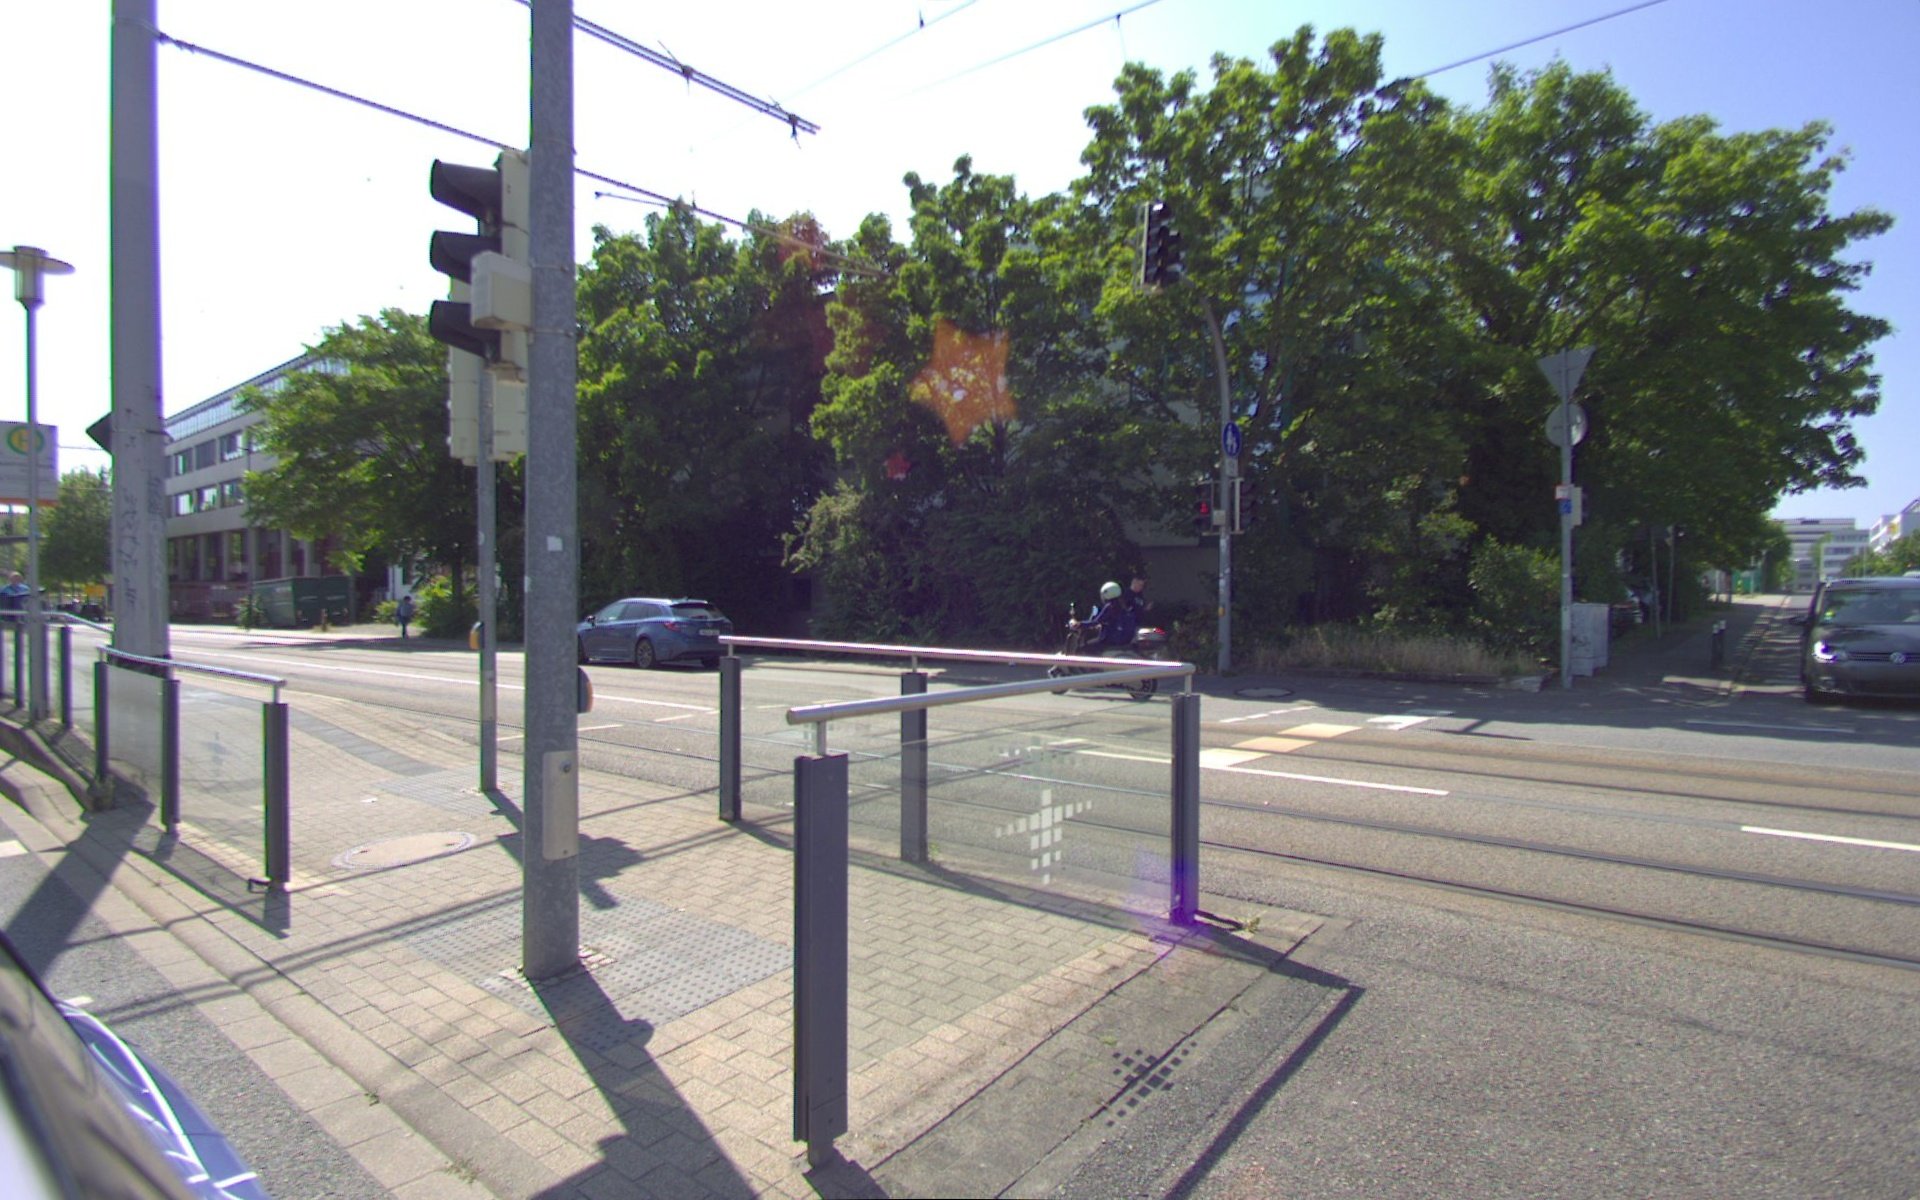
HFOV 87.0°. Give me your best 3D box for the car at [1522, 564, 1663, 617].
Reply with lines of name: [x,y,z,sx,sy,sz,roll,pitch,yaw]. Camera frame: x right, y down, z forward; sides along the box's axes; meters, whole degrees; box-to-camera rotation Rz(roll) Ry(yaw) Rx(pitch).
car: [20.903,-0.280,33.512,3.858,1.650,1.607,-1,0,35]

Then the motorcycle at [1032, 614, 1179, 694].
motorcycle: [2.017,0.720,14.277,0.813,1.019,1.965,-1,0,-44]

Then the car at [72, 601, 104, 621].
car: [-76.102,0.967,88.297,1.970,1.635,4.004,1,-1,-43]

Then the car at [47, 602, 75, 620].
car: [-82.277,0.978,92.617,1.844,1.630,4.004,1,-1,-43]

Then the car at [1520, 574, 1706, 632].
car: [17.267,0.097,26.950,3.833,1.478,1.617,-1,0,17]

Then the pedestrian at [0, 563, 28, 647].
pedestrian: [-20.312,0.110,21.428,0.944,1.737,0.716,-1,0,40]

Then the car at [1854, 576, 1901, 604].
car: [55.943,-0.597,61.758,1.804,1.613,3.949,0,0,38]

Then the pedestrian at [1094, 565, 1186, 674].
pedestrian: [2.945,0.295,16.563,1.159,1.682,0.877,0,3,40]

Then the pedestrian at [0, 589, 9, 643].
pedestrian: [-20.007,0.337,20.526,0.725,1.107,0.933,-1,0,39]

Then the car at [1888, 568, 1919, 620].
car: [30.782,-0.202,31.717,1.801,1.548,4.115,-1,0,33]

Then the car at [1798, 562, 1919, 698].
car: [12.558,0.299,13.607,1.931,1.595,4.137,-1,1,39]

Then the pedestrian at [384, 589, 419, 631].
pedestrian: [-20.599,0.370,37.309,0.845,1.538,0.862,0,0,39]

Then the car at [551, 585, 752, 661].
car: [-6.618,0.481,21.484,4.592,1.453,1.887,-1,-2,40]

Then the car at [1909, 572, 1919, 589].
car: [78.527,-1.591,81.192,3.430,1.437,1.333,0,1,41]

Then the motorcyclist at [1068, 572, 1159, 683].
motorcyclist: [2.145,0.365,14.156,0.826,1.486,0.963,0,0,-45]

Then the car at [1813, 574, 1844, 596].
car: [82.559,-1.453,96.168,3.940,2.029,1.917,-1,0,-44]
